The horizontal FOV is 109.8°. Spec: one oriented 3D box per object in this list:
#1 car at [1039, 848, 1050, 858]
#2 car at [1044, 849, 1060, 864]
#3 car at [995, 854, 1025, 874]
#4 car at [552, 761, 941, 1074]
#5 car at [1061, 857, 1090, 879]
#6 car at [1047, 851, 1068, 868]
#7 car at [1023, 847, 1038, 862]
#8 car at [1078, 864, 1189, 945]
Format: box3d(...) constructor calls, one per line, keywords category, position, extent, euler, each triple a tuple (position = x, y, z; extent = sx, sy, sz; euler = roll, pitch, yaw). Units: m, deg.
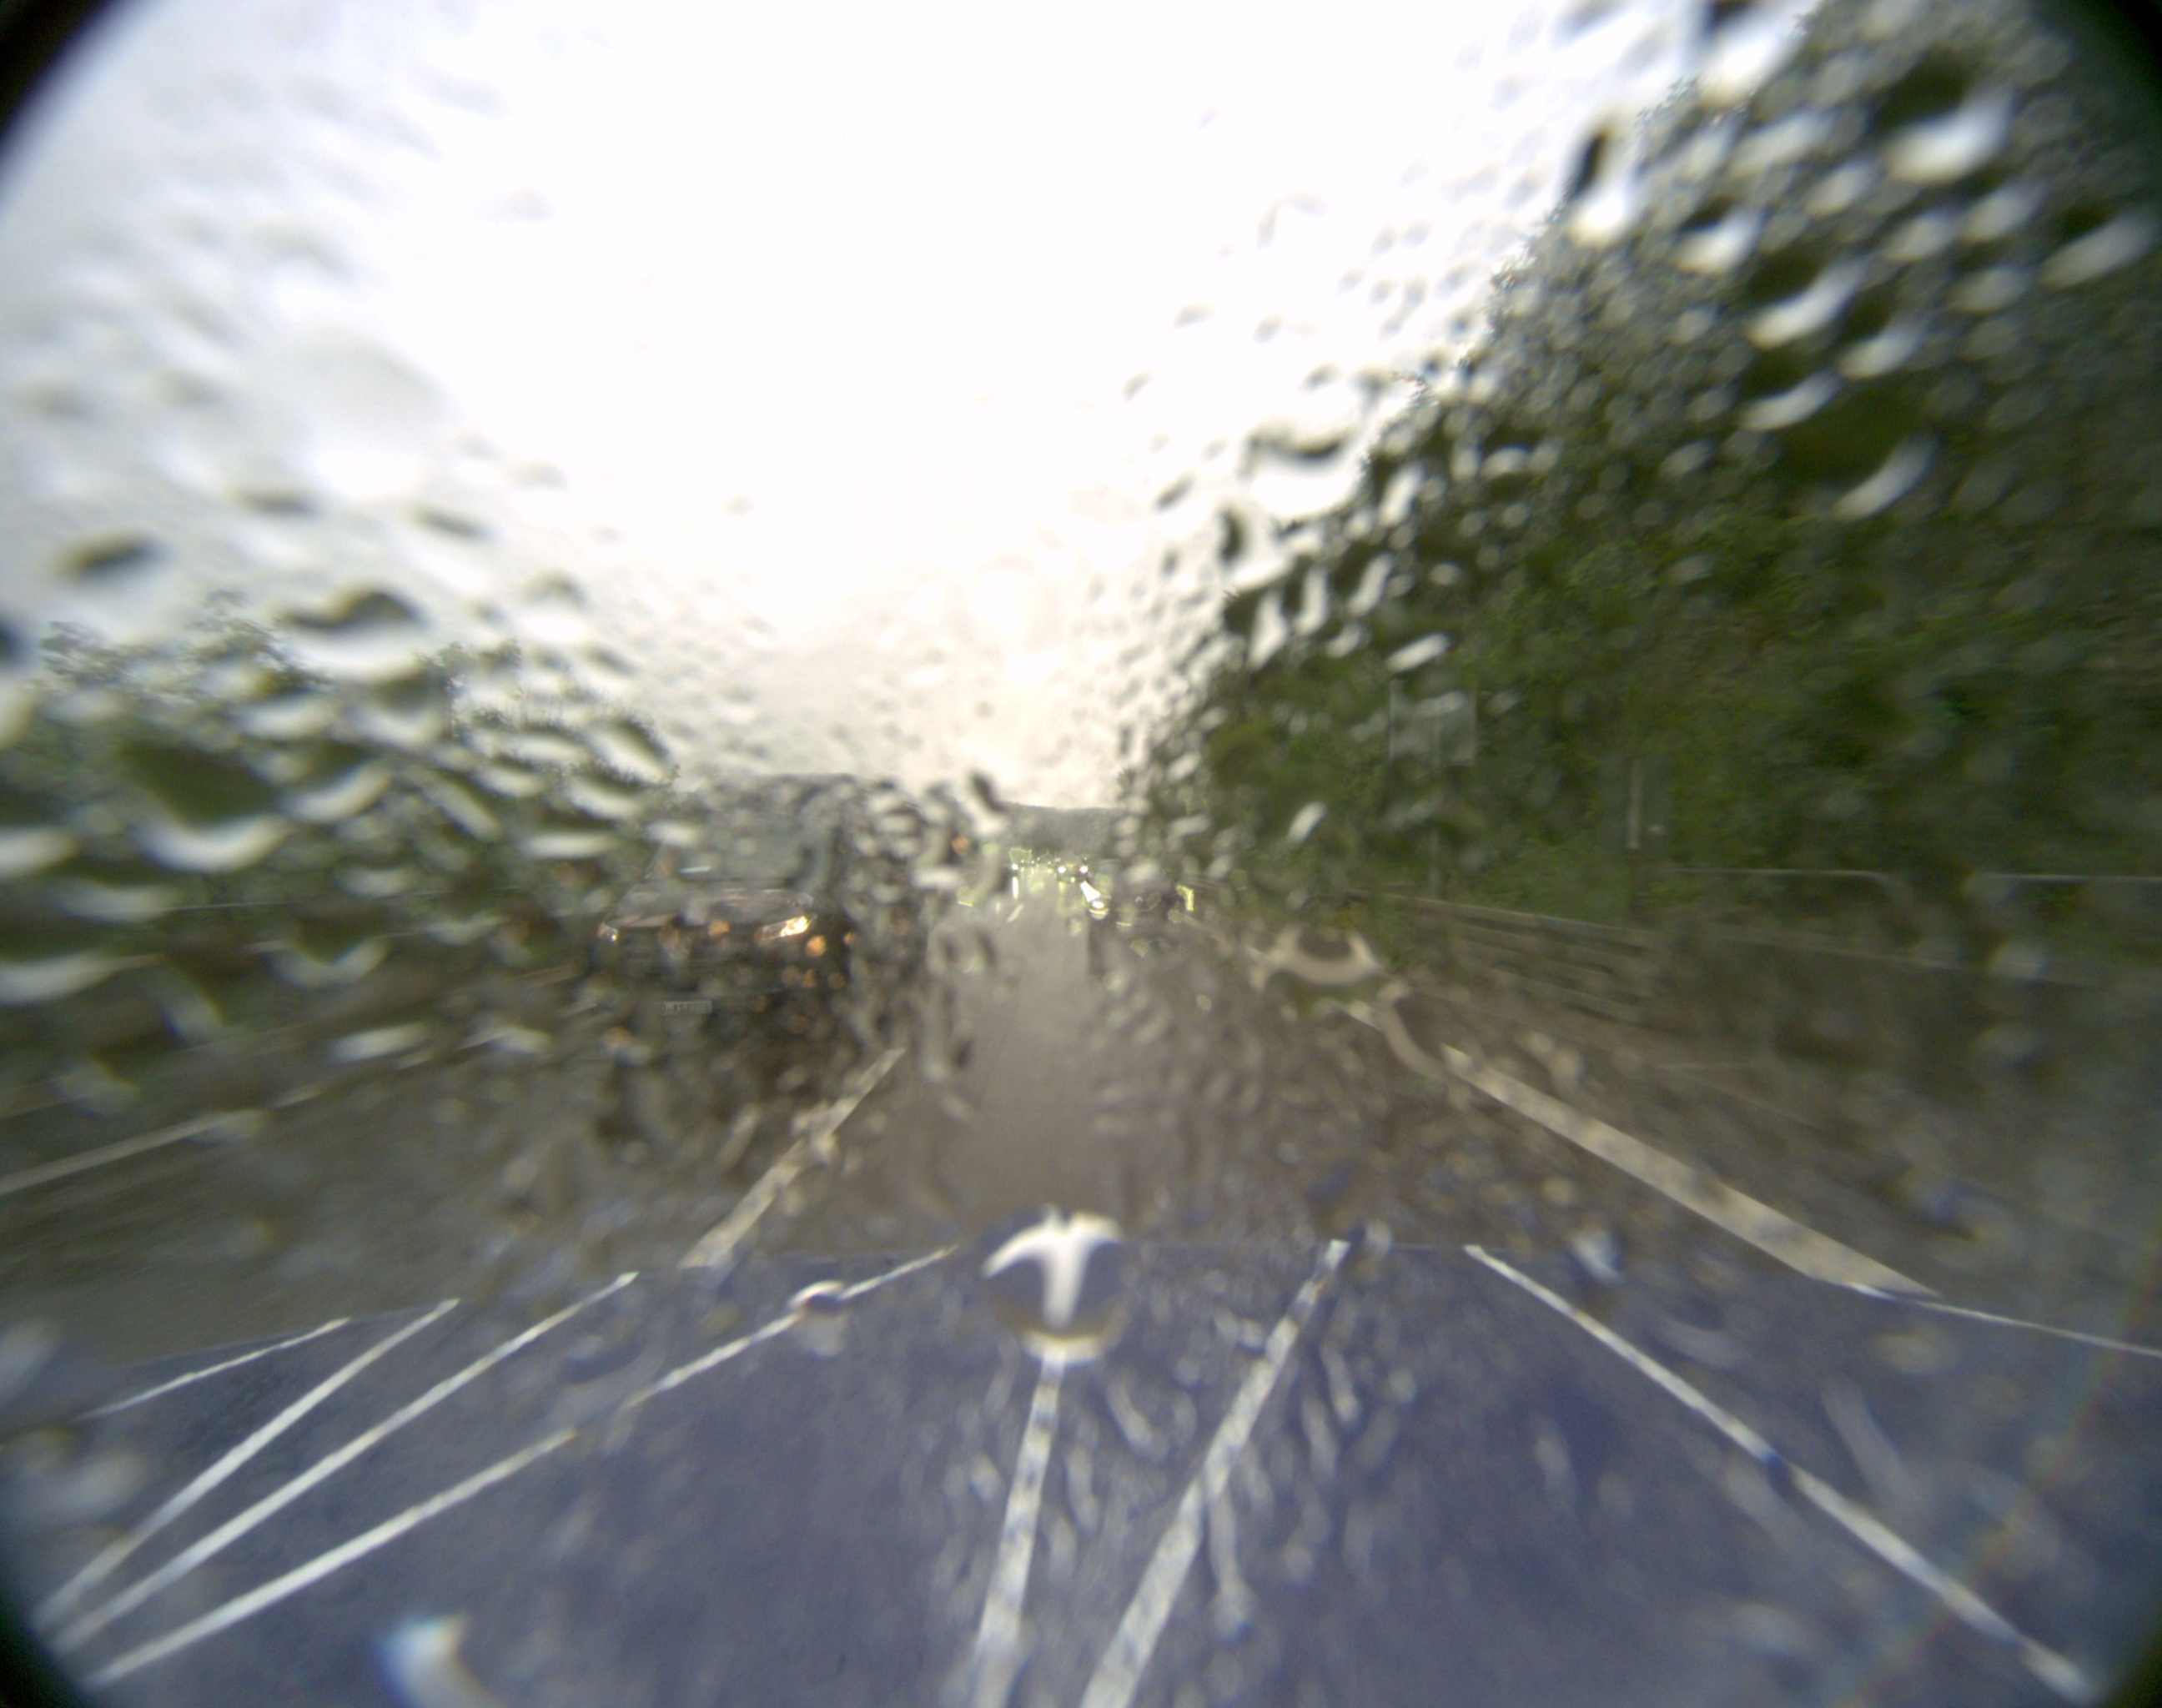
box3d(category="car", position=(-6.233, -0.158, 130.401), extent=(1.711, 1.609, 3.341), euler=(2, 1, -1))
box3d(category="car", position=(-3.412, 0.290, 88.769), extent=(1.805, 1.723, 3.765), euler=(-2, 0, -2))
box3d(category="car", position=(-5.474, 0.758, 59.091), extent=(1.991, 1.407, 4.563), euler=(1, 1, -1))
box3d(category="car", position=(-3.330, 0.514, 9.544), extent=(1.999, 2.479, 6.703), euler=(-2, 0, -2))
box3d(category="car", position=(-0.362, 0.852, 47.558), extent=(1.713, 1.316, 3.944), euler=(0, 1, -1))
box3d(category="car", position=(-2.268, 0.492, 74.293), extent=(1.907, 1.545, 4.563), euler=(-2, 0, -1))
box3d(category="car", position=(-6.518, 0.060, 98.732), extent=(1.765, 1.851, 3.767), euler=(-2, 0, -1))
box3d(category="car", position=(0.929, 0.929, 15.620), extent=(1.839, 1.316, 4.134), euler=(-2, 0, -2))
